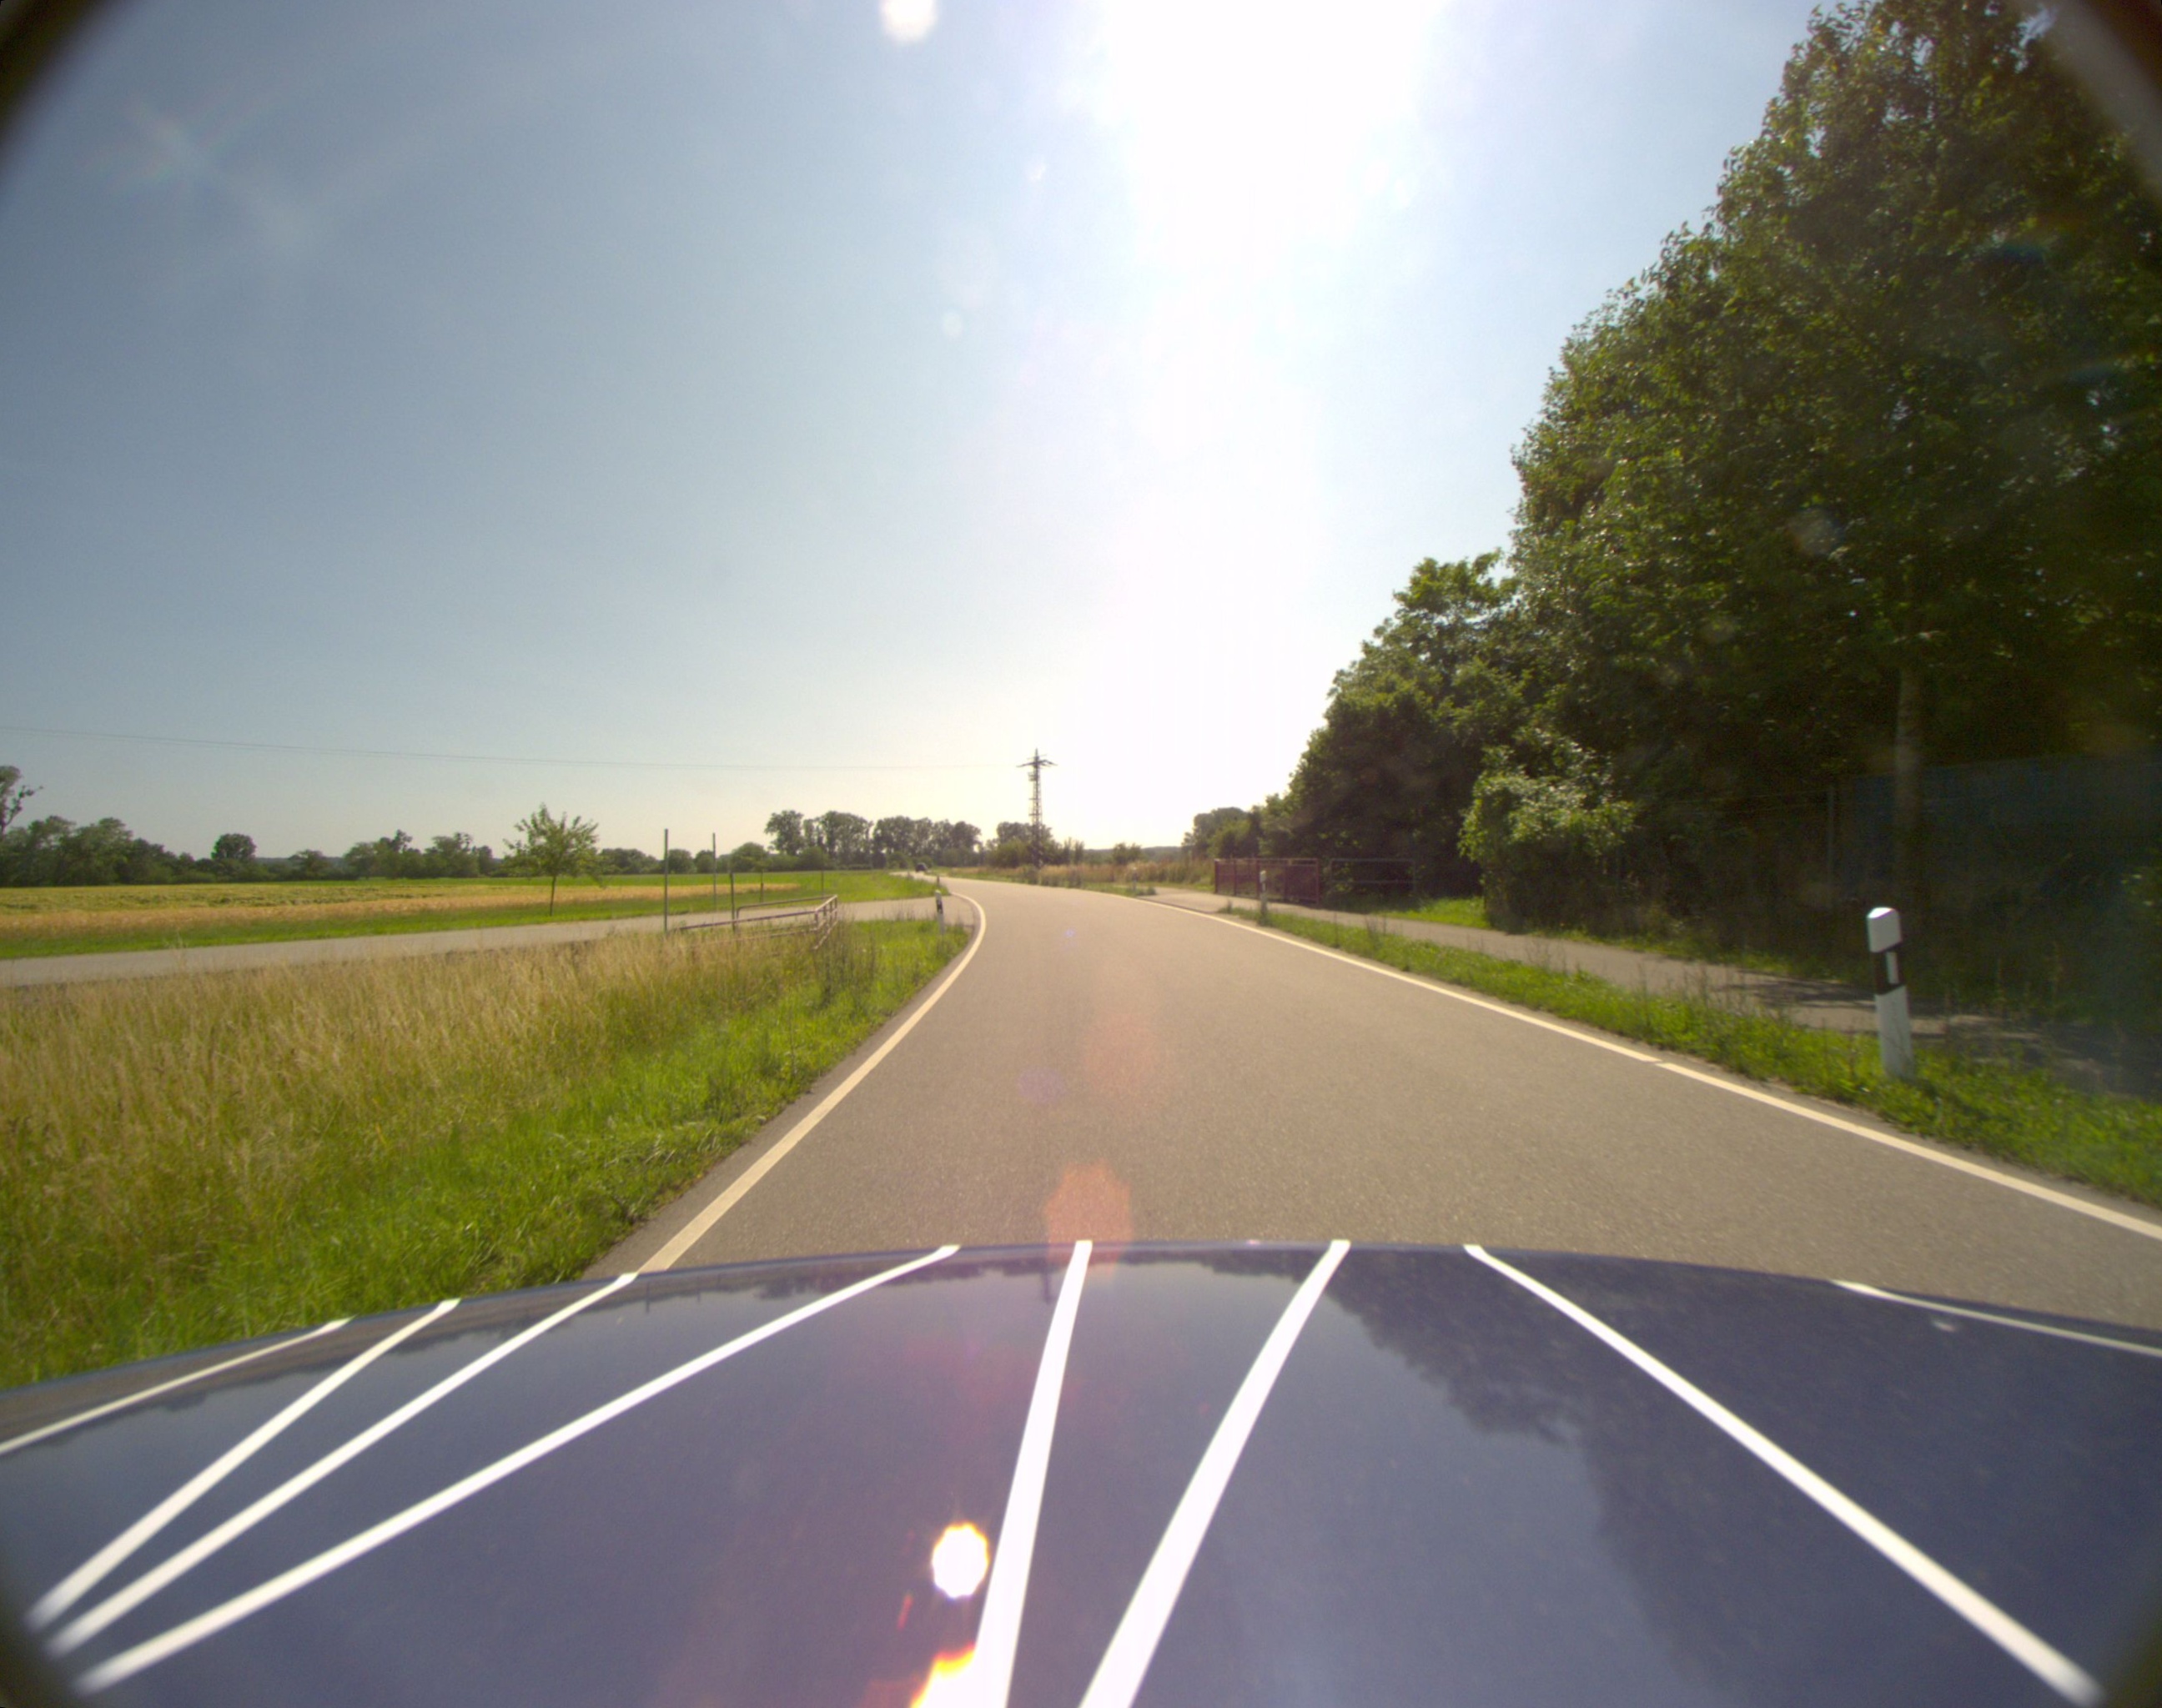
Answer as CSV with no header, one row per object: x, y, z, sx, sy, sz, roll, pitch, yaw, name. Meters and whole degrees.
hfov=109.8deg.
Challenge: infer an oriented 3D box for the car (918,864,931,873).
-30.509,2.834,148.314,1.871,1.742,4.296,0,0,-3,car
